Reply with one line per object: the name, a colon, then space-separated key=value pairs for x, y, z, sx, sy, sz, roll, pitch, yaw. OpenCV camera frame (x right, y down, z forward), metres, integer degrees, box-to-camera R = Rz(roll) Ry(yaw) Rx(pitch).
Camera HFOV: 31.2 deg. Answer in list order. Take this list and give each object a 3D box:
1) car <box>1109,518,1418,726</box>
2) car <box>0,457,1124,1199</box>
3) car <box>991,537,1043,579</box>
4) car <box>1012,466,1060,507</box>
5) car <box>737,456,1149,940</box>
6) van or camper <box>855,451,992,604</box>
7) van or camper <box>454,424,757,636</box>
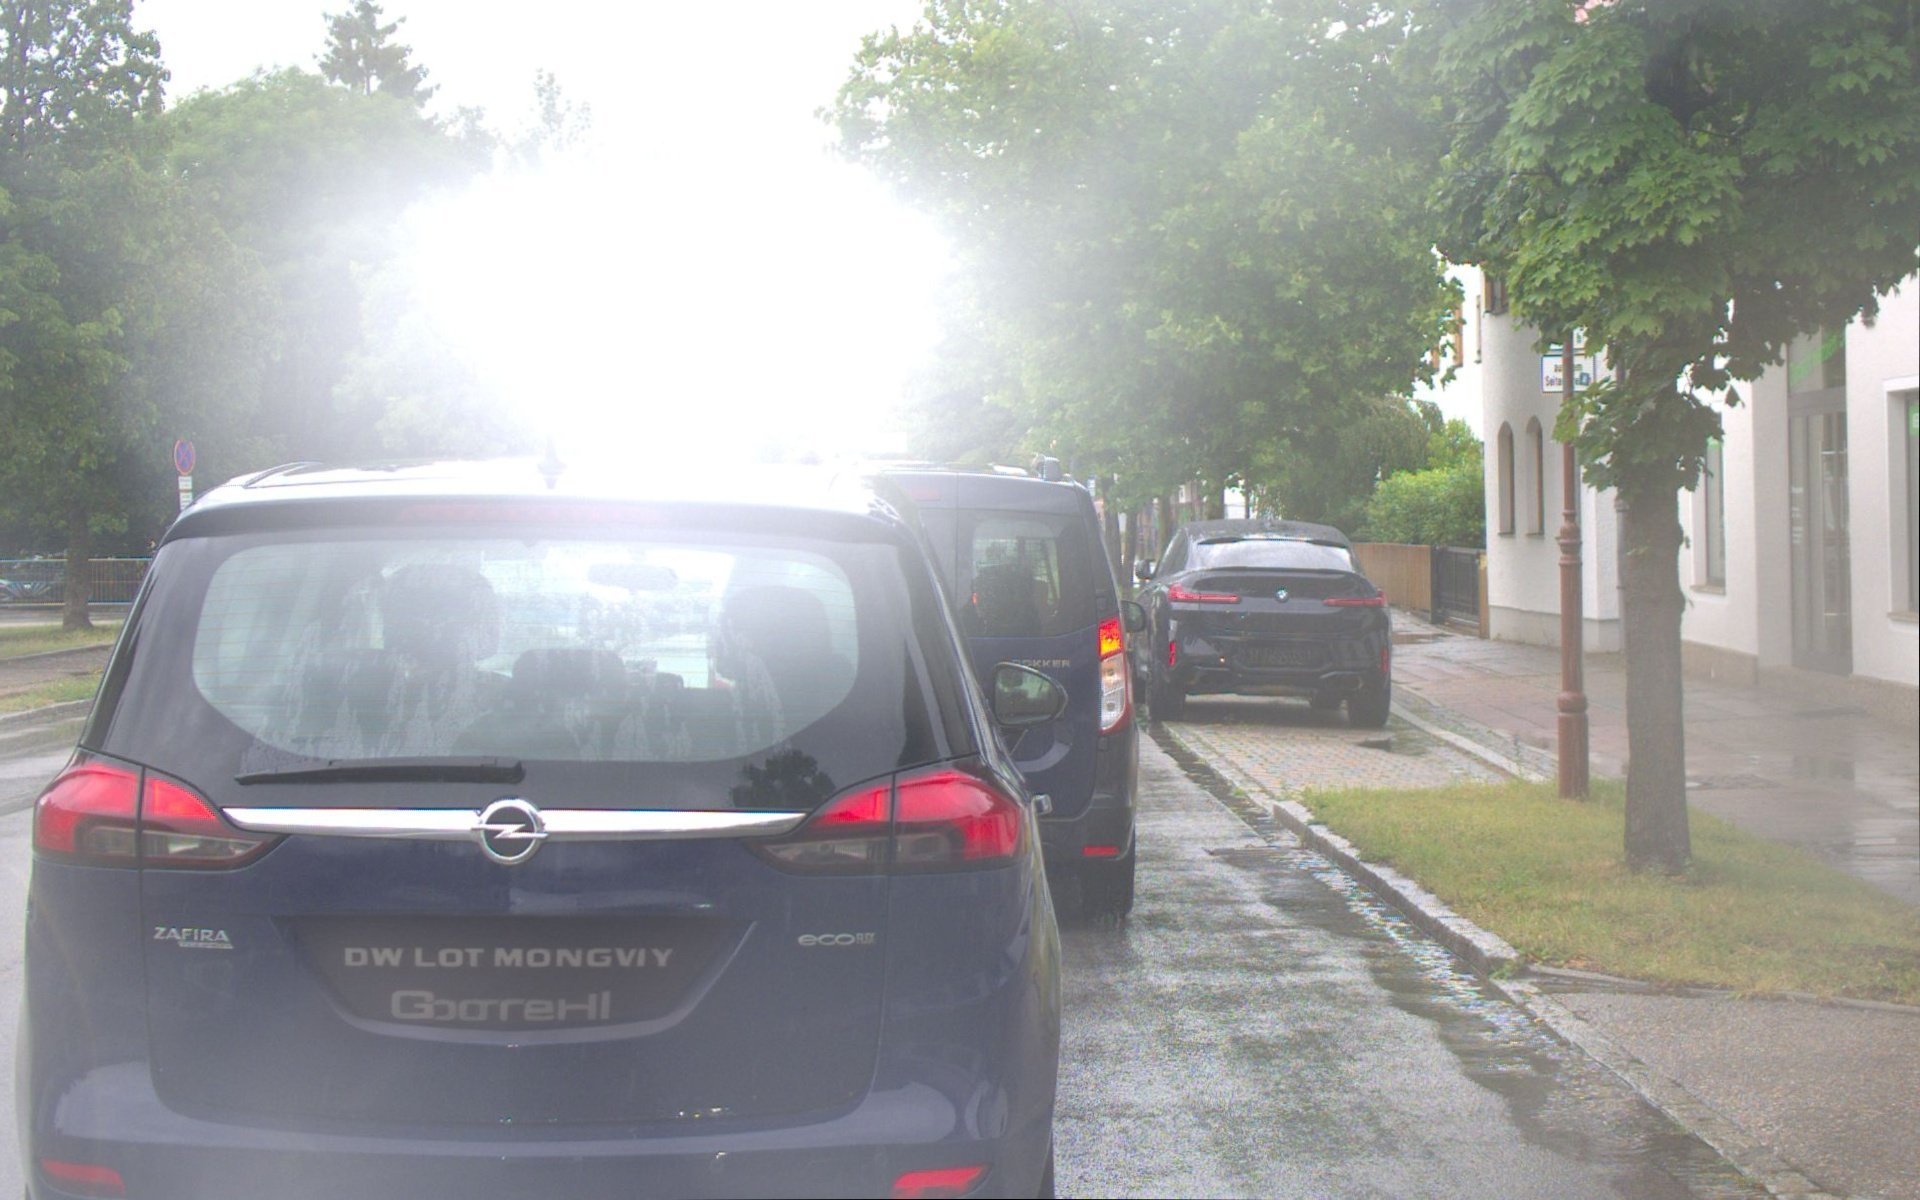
car: x=2.422 y=0.141 z=28.429 sx=2.117 sy=1.575 sz=3.936 roll=1 pitch=1 yaw=-1
car: x=-0.651 y=0.549 z=7.150 sx=1.768 sy=1.599 sz=3.663 roll=0 pitch=1 yaw=0
car: x=1.927 y=-1.428 z=117.047 sx=1.630 sy=1.373 sz=3.623 roll=0 pitch=1 yaw=-1
car: x=2.784 y=-4.161 z=126.558 sx=1.630 sy=1.373 sz=3.623 roll=-2 pitch=1 yaw=-1
car: x=-0.075 y=0.331 z=14.209 sx=1.500 sy=1.770 sz=3.112 roll=1 pitch=1 yaw=0
van or camper: x=-0.664 y=-1.327 z=63.154 sx=2.360 sy=2.656 sz=5.372 roll=-1 pitch=1 yaw=0
van or camper: x=-4.976 y=-0.958 z=47.277 sx=2.094 sy=2.698 sz=6.270 roll=-1 pitch=1 yaw=-26
